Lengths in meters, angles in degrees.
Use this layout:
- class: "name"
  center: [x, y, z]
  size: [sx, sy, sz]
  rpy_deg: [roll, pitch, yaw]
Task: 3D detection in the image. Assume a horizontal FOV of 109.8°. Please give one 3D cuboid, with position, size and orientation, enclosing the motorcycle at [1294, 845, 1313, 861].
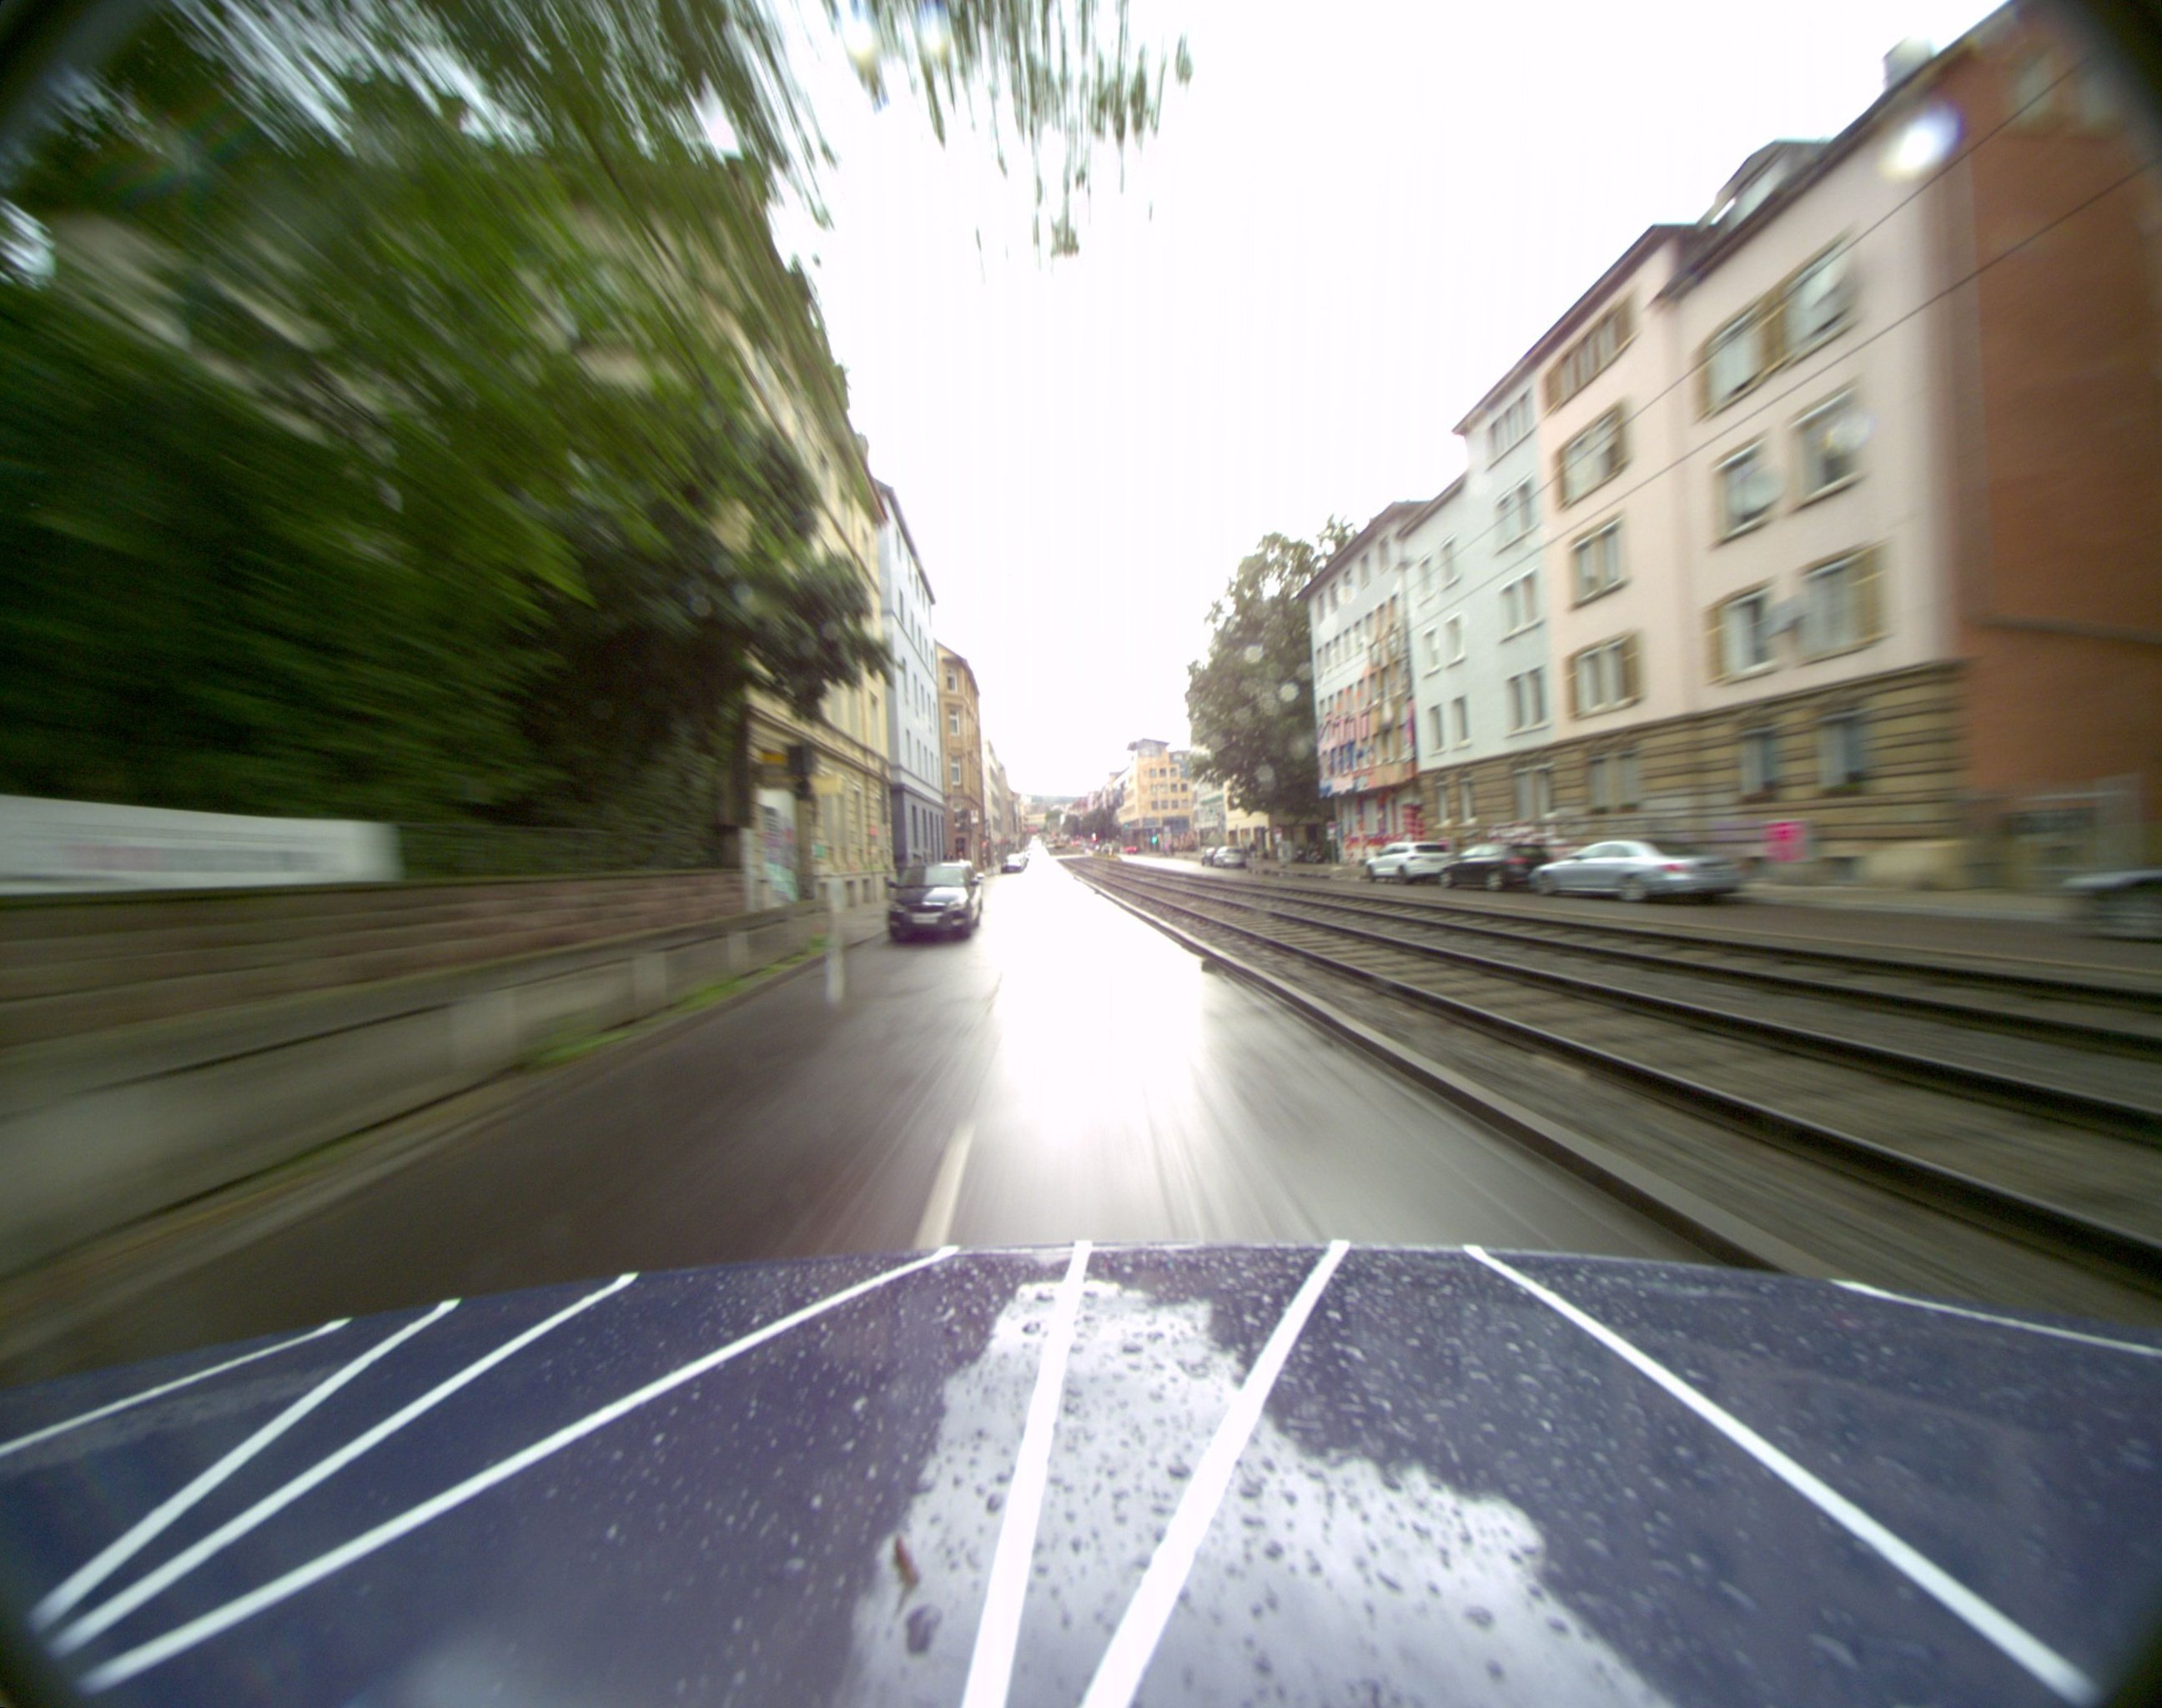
- class: "motorcycle"
  center: [16.045, -0.071, 54.904]
  size: [0.473, 1.139, 2.565]
  rpy_deg: [-3, 1, -2]

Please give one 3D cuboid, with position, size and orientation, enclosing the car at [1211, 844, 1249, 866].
- class: "car"
  center: [11.266, 0.065, 57.693]
  size: [1.843, 1.532, 4.227]
  rpy_deg: [-1, 1, -2]

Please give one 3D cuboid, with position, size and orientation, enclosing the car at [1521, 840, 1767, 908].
- class: "car"
  center: [13.023, 0.389, 18.110]
  size: [1.999, 1.389, 5.020]
  rpy_deg: [0, 0, -2]

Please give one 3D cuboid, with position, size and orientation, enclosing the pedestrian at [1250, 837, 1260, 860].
- class: "pedestrian"
  center: [14.475, -0.481, 63.198]
  size: [0.651, 1.858, 0.536]
  rpy_deg: [-3, 1, 1]

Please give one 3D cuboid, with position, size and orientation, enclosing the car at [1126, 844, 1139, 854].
- class: "car"
  center: [9.318, -0.909, 137.785]
  size: [1.999, 1.674, 3.999]
  rpy_deg: [-3, 1, -2]

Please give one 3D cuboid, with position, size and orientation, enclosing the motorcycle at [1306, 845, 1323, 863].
- class: "motorcycle"
  center: [16.019, -0.031, 52.184]
  size: [0.437, 1.174, 2.017]
  rpy_deg: [-3, 1, -2]

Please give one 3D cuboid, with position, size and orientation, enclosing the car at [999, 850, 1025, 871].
- class: "car"
  center: [-6.154, 0.543, 67.873]
  size: [1.999, 1.674, 4.123]
  rpy_deg: [-3, 1, -2]

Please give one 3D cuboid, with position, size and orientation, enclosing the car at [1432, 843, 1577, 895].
- class: "car"
  center: [12.794, 0.402, 23.297]
  size: [1.843, 1.389, 4.264]
  rpy_deg: [-1, 1, -4]

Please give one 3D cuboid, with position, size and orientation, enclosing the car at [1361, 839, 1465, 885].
- class: "car"
  center: [12.587, 0.264, 29.123]
  size: [1.843, 1.596, 4.226]
  rpy_deg: [-1, 1, -4]

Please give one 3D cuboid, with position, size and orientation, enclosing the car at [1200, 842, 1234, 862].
- class: "car"
  center: [11.145, -0.201, 62.348]
  size: [1.843, 1.532, 4.227]
  rpy_deg: [-1, 1, -2]

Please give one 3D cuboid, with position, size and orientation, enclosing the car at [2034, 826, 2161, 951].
- class: "car"
  center: [13.559, 0.407, 7.445]
  size: [1.999, 1.447, 5.020]
  rpy_deg: [0, 0, -3]

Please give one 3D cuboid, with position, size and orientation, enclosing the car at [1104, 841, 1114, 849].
- class: "car"
  center: [6.199, -1.953, 168.392]
  size: [1.999, 1.674, 3.999]
  rpy_deg: [-3, 1, -2]

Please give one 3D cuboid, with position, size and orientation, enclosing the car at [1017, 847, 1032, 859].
- class: "car"
  center: [-8.557, -0.218, 115.823]
  size: [1.999, 1.674, 4.123]
  rpy_deg: [-3, 1, -2]

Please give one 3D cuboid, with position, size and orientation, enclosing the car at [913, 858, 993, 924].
- class: "car"
  center: [-3.516, 0.957, 21.540]
  size: [1.760, 1.521, 4.331]
  rpy_deg: [-3, 1, -4]

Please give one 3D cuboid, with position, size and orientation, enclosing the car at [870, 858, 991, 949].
- class: "car"
  center: [-3.020, 0.928, 16.106]
  size: [1.788, 1.521, 4.243]
  rpy_deg: [-3, 1, -2]

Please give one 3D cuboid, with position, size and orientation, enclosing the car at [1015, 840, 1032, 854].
- class: "car"
  center: [-7.656, -0.913, 100.835]
  size: [1.999, 1.674, 4.123]
  rpy_deg: [-3, 1, -2]

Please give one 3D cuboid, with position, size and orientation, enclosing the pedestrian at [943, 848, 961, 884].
- class: "pedestrian"
  center: [-6.989, 0.623, 41.137]
  size: [0.765, 1.902, 0.587]
  rpy_deg: [-3, 1, -5]

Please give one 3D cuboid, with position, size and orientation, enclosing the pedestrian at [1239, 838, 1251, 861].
- class: "pedestrian"
  center: [13.601, -0.367, 63.112]
  size: [0.809, 1.858, 0.536]
  rpy_deg: [-3, 1, 1]

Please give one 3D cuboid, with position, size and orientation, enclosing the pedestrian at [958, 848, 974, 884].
- class: "pedestrian"
  center: [-6.252, 0.640, 41.221]
  size: [0.716, 1.879, 0.599]
  rpy_deg: [-2, 1, -5]
